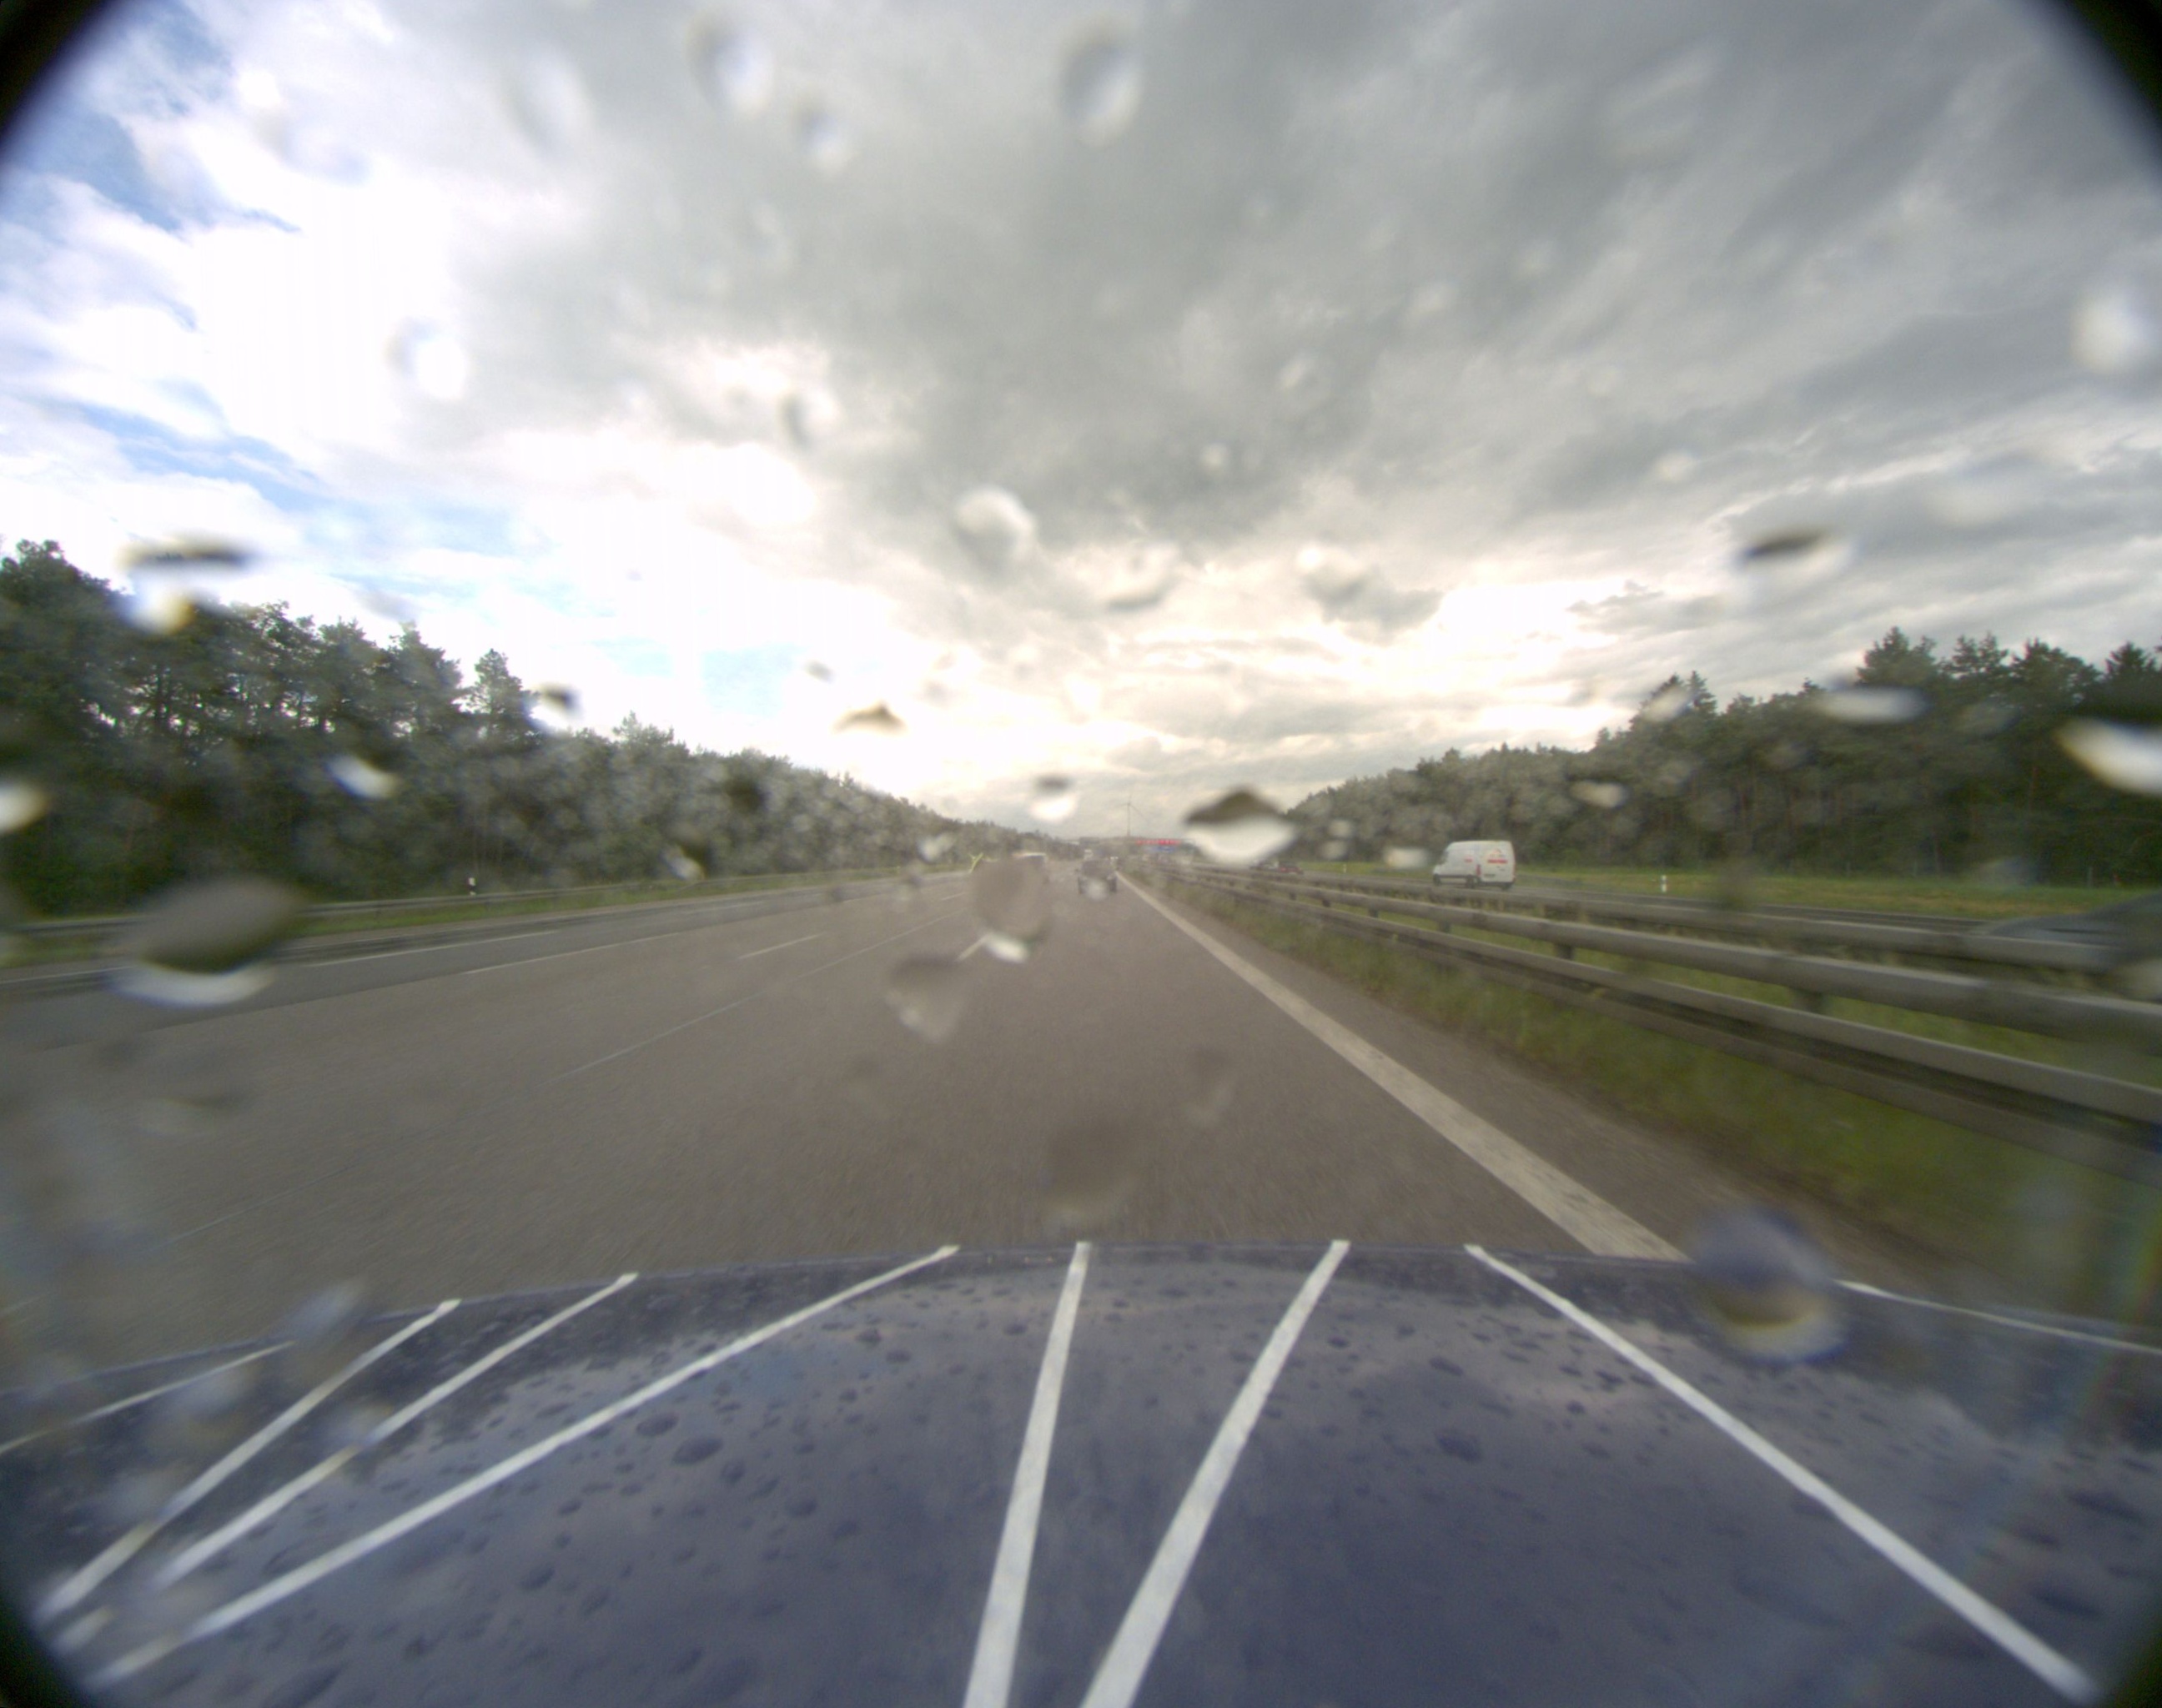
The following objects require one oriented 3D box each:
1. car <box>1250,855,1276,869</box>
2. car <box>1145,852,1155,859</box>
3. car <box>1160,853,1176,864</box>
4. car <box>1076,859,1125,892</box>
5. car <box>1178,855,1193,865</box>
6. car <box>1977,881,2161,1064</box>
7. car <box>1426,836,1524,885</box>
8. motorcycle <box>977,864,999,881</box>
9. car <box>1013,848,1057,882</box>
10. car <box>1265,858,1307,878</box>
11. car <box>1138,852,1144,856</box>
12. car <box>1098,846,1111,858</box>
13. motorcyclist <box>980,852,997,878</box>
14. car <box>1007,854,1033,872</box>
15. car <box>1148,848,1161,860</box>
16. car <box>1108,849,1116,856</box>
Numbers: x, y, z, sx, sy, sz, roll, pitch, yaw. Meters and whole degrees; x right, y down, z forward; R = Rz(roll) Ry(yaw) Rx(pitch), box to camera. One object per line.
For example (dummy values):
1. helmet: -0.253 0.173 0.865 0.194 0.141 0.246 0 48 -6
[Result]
1. car: 18.719 0.783 78.115 1.702 1.350 4.258 0 0 1
2. car: 14.873 0.298 162.986 1.864 1.579 4.490 -1 0 1
3. car: 11.767 0.590 103.420 1.775 1.530 4.000 0 0 1
4. car: 0.931 0.894 33.635 1.809 1.321 4.433 0 0 6
5. car: 15.918 0.948 115.977 1.702 1.479 4.000 0 0 1
6. car: 9.772 1.002 5.477 1.879 1.423 3.999 0 0 -1
7. car: 21.772 0.321 42.419 2.103 2.496 6.584 1 0 1
8. motorcycle: -5.970 1.179 49.038 1.002 1.025 2.174 -1 0 4
9. car: -2.720 0.620 45.781 1.968 1.890 4.883 -1 0 4
10. car: 14.352 0.935 53.432 1.702 1.317 4.667 1 0 1
11. car: 19.138 0.023 243.669 1.732 1.381 4.092 1 0 1
12. car: 4.167 -0.334 135.647 1.999 2.002 4.000 -3 0 0
13. motorcyclist: -5.987 0.708 49.097 0.893 1.605 0.959 -1 1 4
14. car: -7.009 1.000 87.923 1.997 2.002 5.485 -2 0 6
15. car: 13.404 -0.028 137.991 1.998 2.002 4.626 0 0 1
16. car: 10.226 -0.528 251.344 2.179 2.002 4.362 -2 0 0
